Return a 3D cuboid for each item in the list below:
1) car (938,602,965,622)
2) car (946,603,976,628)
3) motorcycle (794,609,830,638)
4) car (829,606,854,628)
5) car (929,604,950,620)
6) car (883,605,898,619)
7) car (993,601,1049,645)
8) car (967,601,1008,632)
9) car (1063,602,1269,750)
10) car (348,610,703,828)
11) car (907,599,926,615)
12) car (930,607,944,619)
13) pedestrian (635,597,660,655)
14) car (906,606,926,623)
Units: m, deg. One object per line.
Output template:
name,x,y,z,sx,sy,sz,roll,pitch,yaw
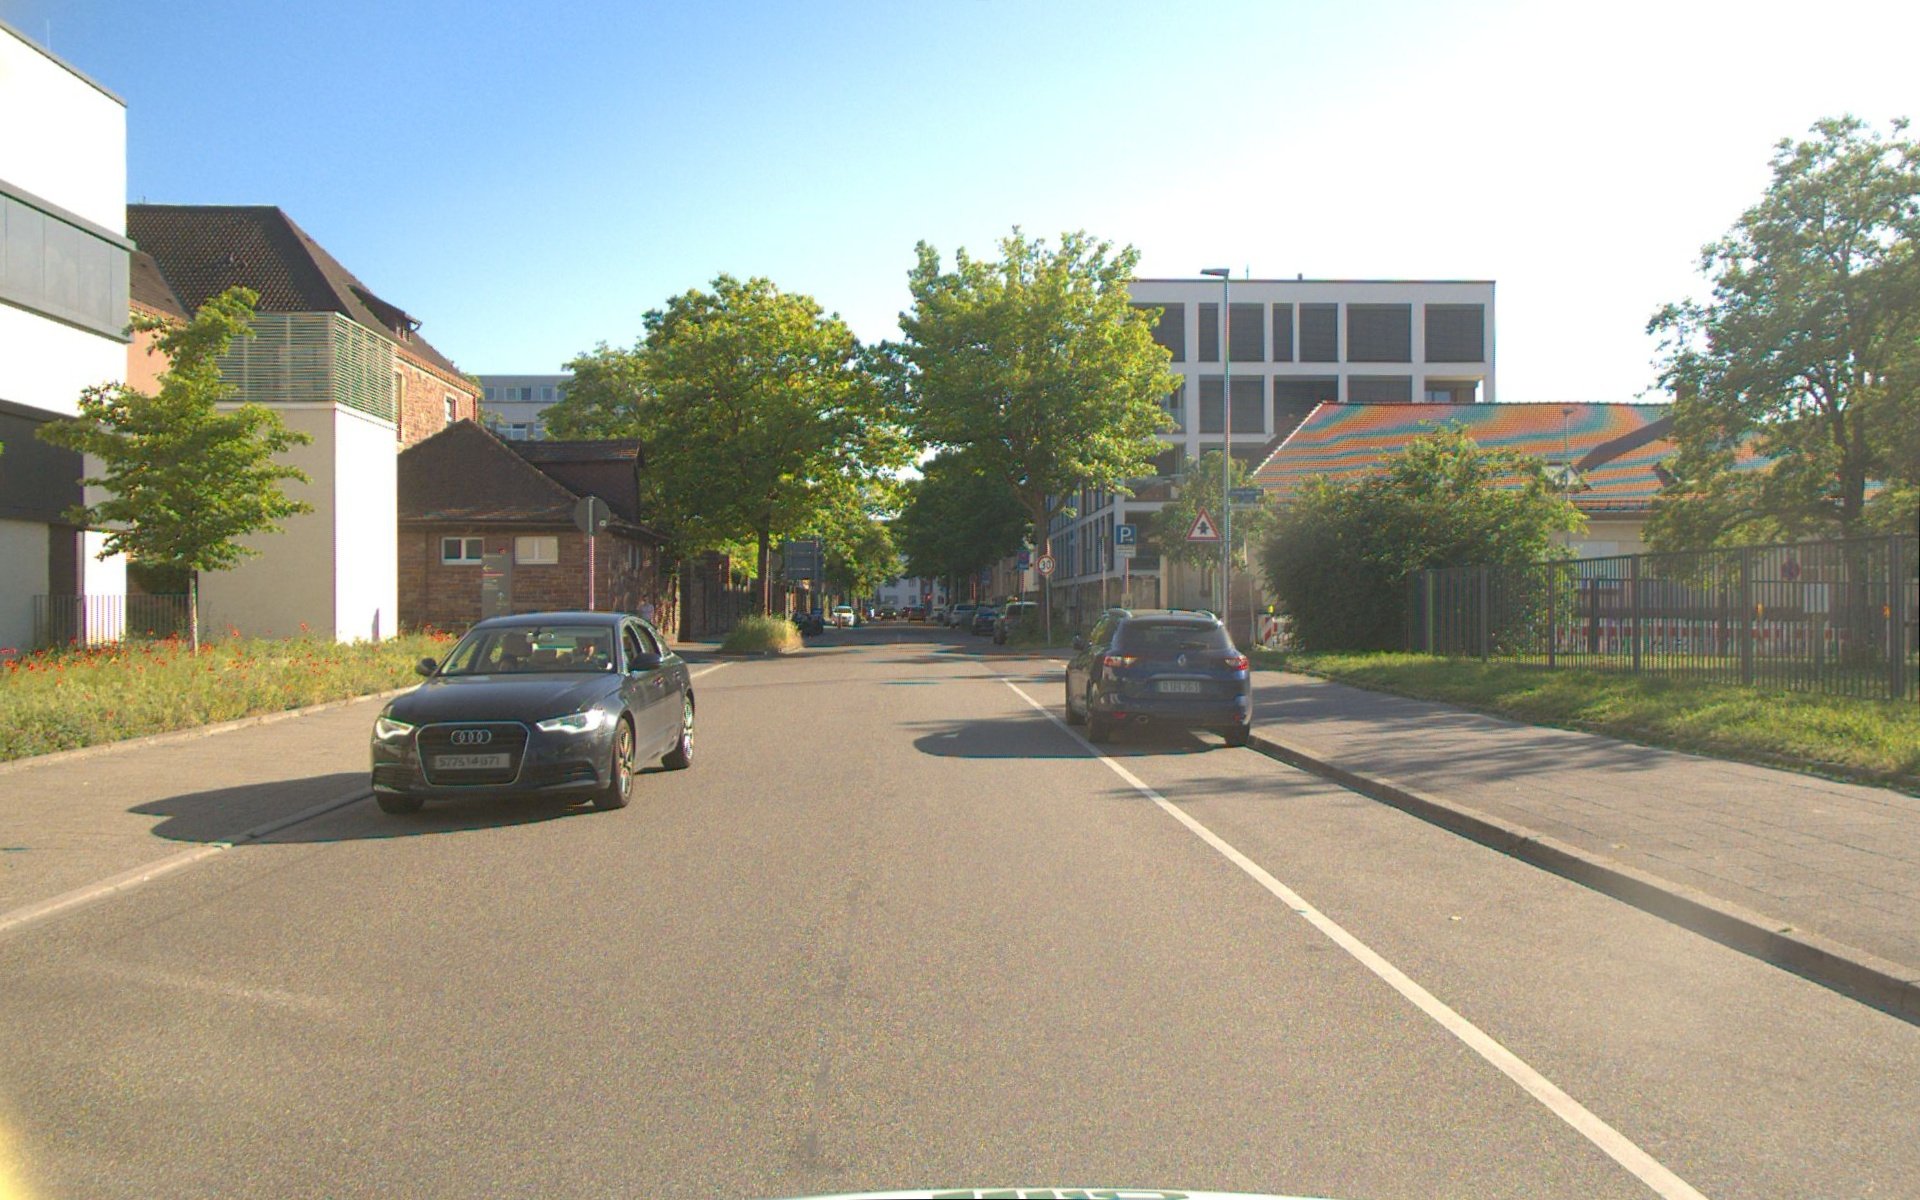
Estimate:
car,-0.640,0.870,124.901,1.953,1.491,3.835,0,0,-1
car,0.032,1.020,109.236,1.911,1.606,3.835,0,0,-1
motorcycle,-6.872,1.092,76.899,0.565,1.298,2.117,-1,0,31
car,-8.636,1.243,120.762,1.732,1.513,3.997,-1,0,-3
car,-1.993,1.121,157.453,1.953,1.450,3.835,0,0,-1
car,-7.830,1.402,187.330,1.620,1.557,3.998,0,0,-2
car,2.134,0.809,59.085,1.669,1.494,4.786,0,0,-2
car,1.309,0.798,80.351,1.732,1.465,3.997,-1,0,-3
car,2.287,0.799,19.395,1.781,1.478,4.213,2,0,-1
car,-3.389,0.844,13.814,1.725,1.467,4.537,-1,0,0
car,-4.128,0.650,157.218,1.851,1.424,3.835,0,0,-1
car,-2.634,1.468,190.259,1.553,1.424,3.835,0,0,-1
pedestrian,-8.707,0.712,46.111,0.511,1.590,1.095,0,0,-3
car,-4.137,1.337,155.400,1.732,1.575,4.063,-1,0,-3
